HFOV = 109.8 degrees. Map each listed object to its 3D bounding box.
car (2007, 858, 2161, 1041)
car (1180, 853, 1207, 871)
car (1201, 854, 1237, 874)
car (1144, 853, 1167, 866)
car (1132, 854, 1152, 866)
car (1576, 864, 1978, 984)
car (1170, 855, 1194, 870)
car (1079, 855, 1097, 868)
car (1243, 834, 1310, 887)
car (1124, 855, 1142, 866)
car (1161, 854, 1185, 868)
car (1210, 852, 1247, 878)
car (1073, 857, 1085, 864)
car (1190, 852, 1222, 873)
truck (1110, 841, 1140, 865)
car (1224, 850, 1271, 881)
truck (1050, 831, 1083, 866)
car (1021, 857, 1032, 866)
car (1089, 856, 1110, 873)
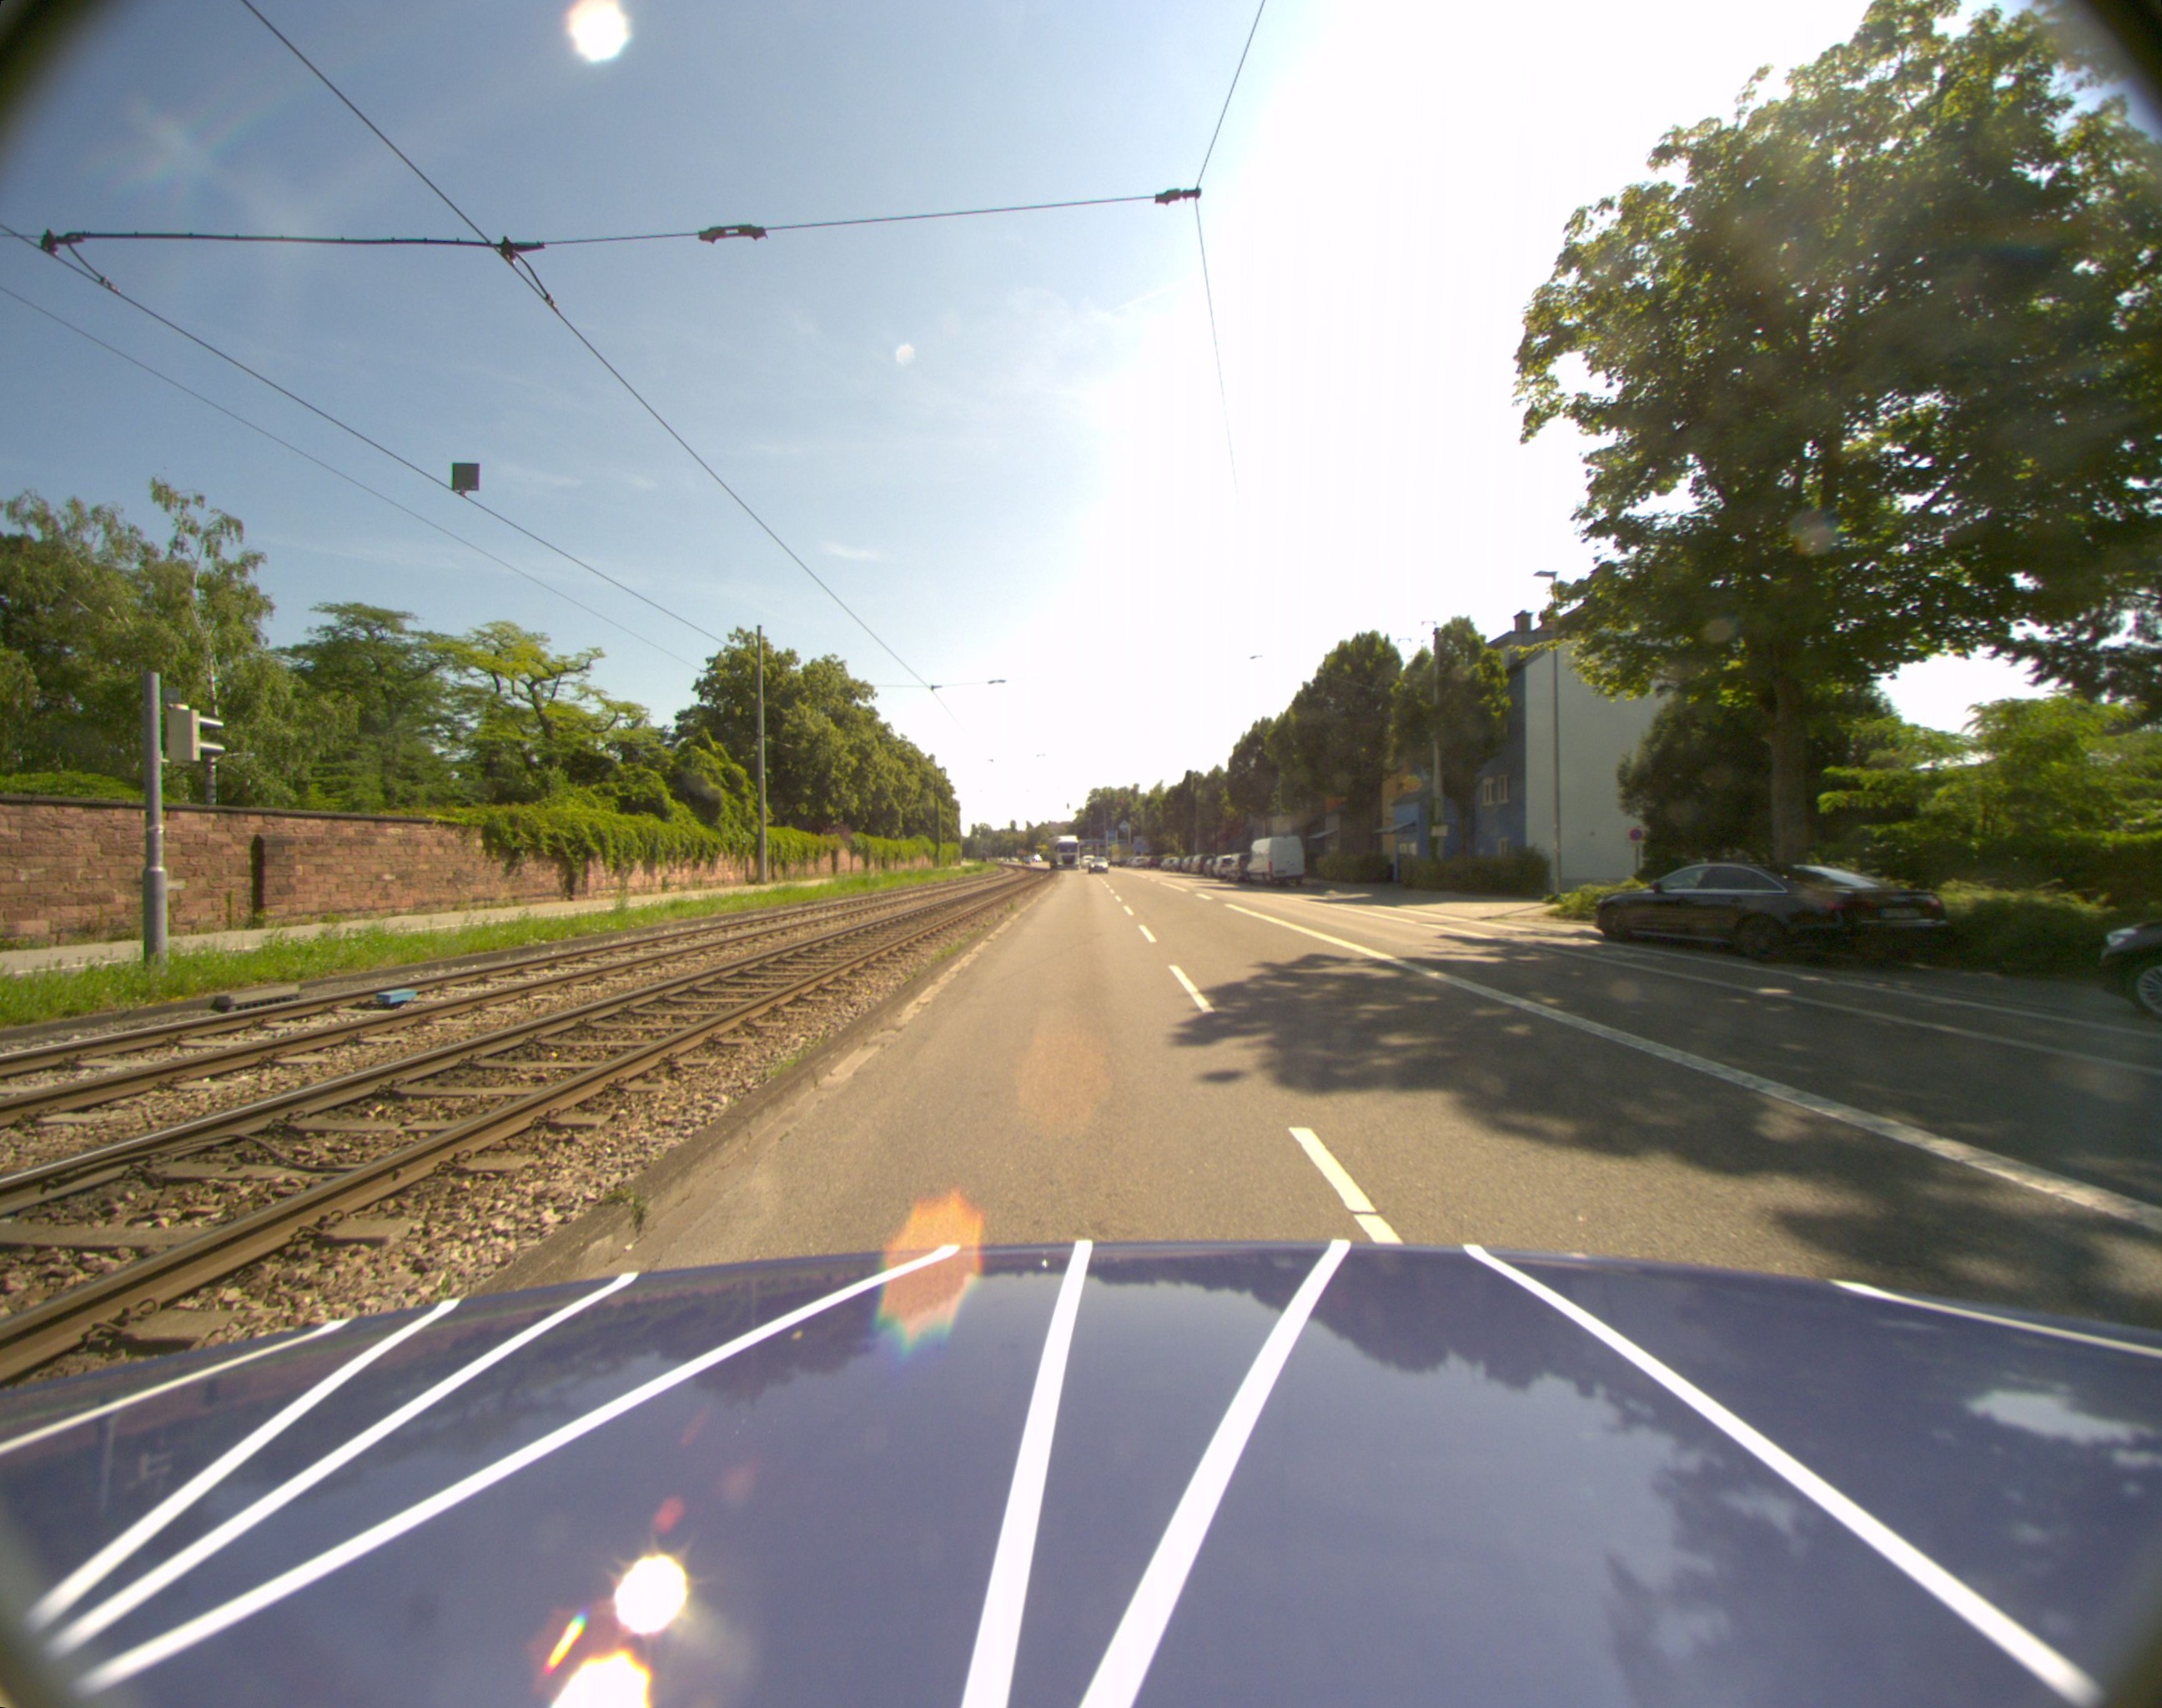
[{"bbox_3d":[10.542,0.860,5.490,1.766,1.596,4.893,-1,0,0],"label":"car"},{"bbox_3d":[10.741,0.756,72.741,1.681,1.598,4.164,-2,1,-3],"label":"car"},{"bbox_3d":[11.238,0.800,62.116,1.871,1.447,4.074,-4,1,-3],"label":"car"},{"bbox_3d":[9.424,0.629,96.880,1.911,1.567,4.929,-2,0,-6],"label":"car"},{"bbox_3d":[8.394,0.768,104.773,2.040,1.490,4.130,-2,0,-6],"label":"car"},{"bbox_3d":[10.559,0.928,12.230,1.845,1.457,4.909,0,0,-3],"label":"car"},{"bbox_3d":[10.452,0.850,78.640,1.681,1.462,4.212,-2,0,-3],"label":"car"},{"bbox_3d":[0.857,0.868,95.650,1.785,1.538,4.392,-2,0,-5],"label":"car"},{"bbox_3d":[11.010,0.346,43.365,1.998,2.661,7.086,-4,0,1],"label":"car"},{"bbox_3d":[7.425,0.863,109.190,1.915,1.469,4.213,-2,0,-6],"label":"car"},{"bbox_3d":[10.312,0.808,85.540,1.682,1.437,4.835,-2,0,-6],"label":"car"},{"bbox_3d":[11.057,0.783,57.153,1.852,1.693,4.540,-4,1,1],"label":"car"},{"bbox_3d":[-0.333,1.265,142.439,1.693,1.237,4.061,2,0,-8],"label":"car"},{"bbox_3d":[11.052,0.684,67.436,1.834,1.718,4.348,-3,1,-3],"label":"car"},{"bbox_3d":[6.698,-0.147,116.912,3.165,3.533,8.780,0,0,-6],"label":"truck"},{"bbox_3d":[11.150,0.756,51.284,1.998,1.855,4.966,-4,0,1],"label":"car"},{"bbox_3d":[-1.925,-0.603,91.765,2.807,3.926,11.935,0,0,-7],"label":"truck"},{"bbox_3d":[-10.814,1.427,151.051,1.855,1.707,3.997,-2,1,-7],"label":"car"},{"bbox_3d":[1.643,0.916,67.473,1.747,1.421,5.041,-1,0,1],"label":"car"}]
